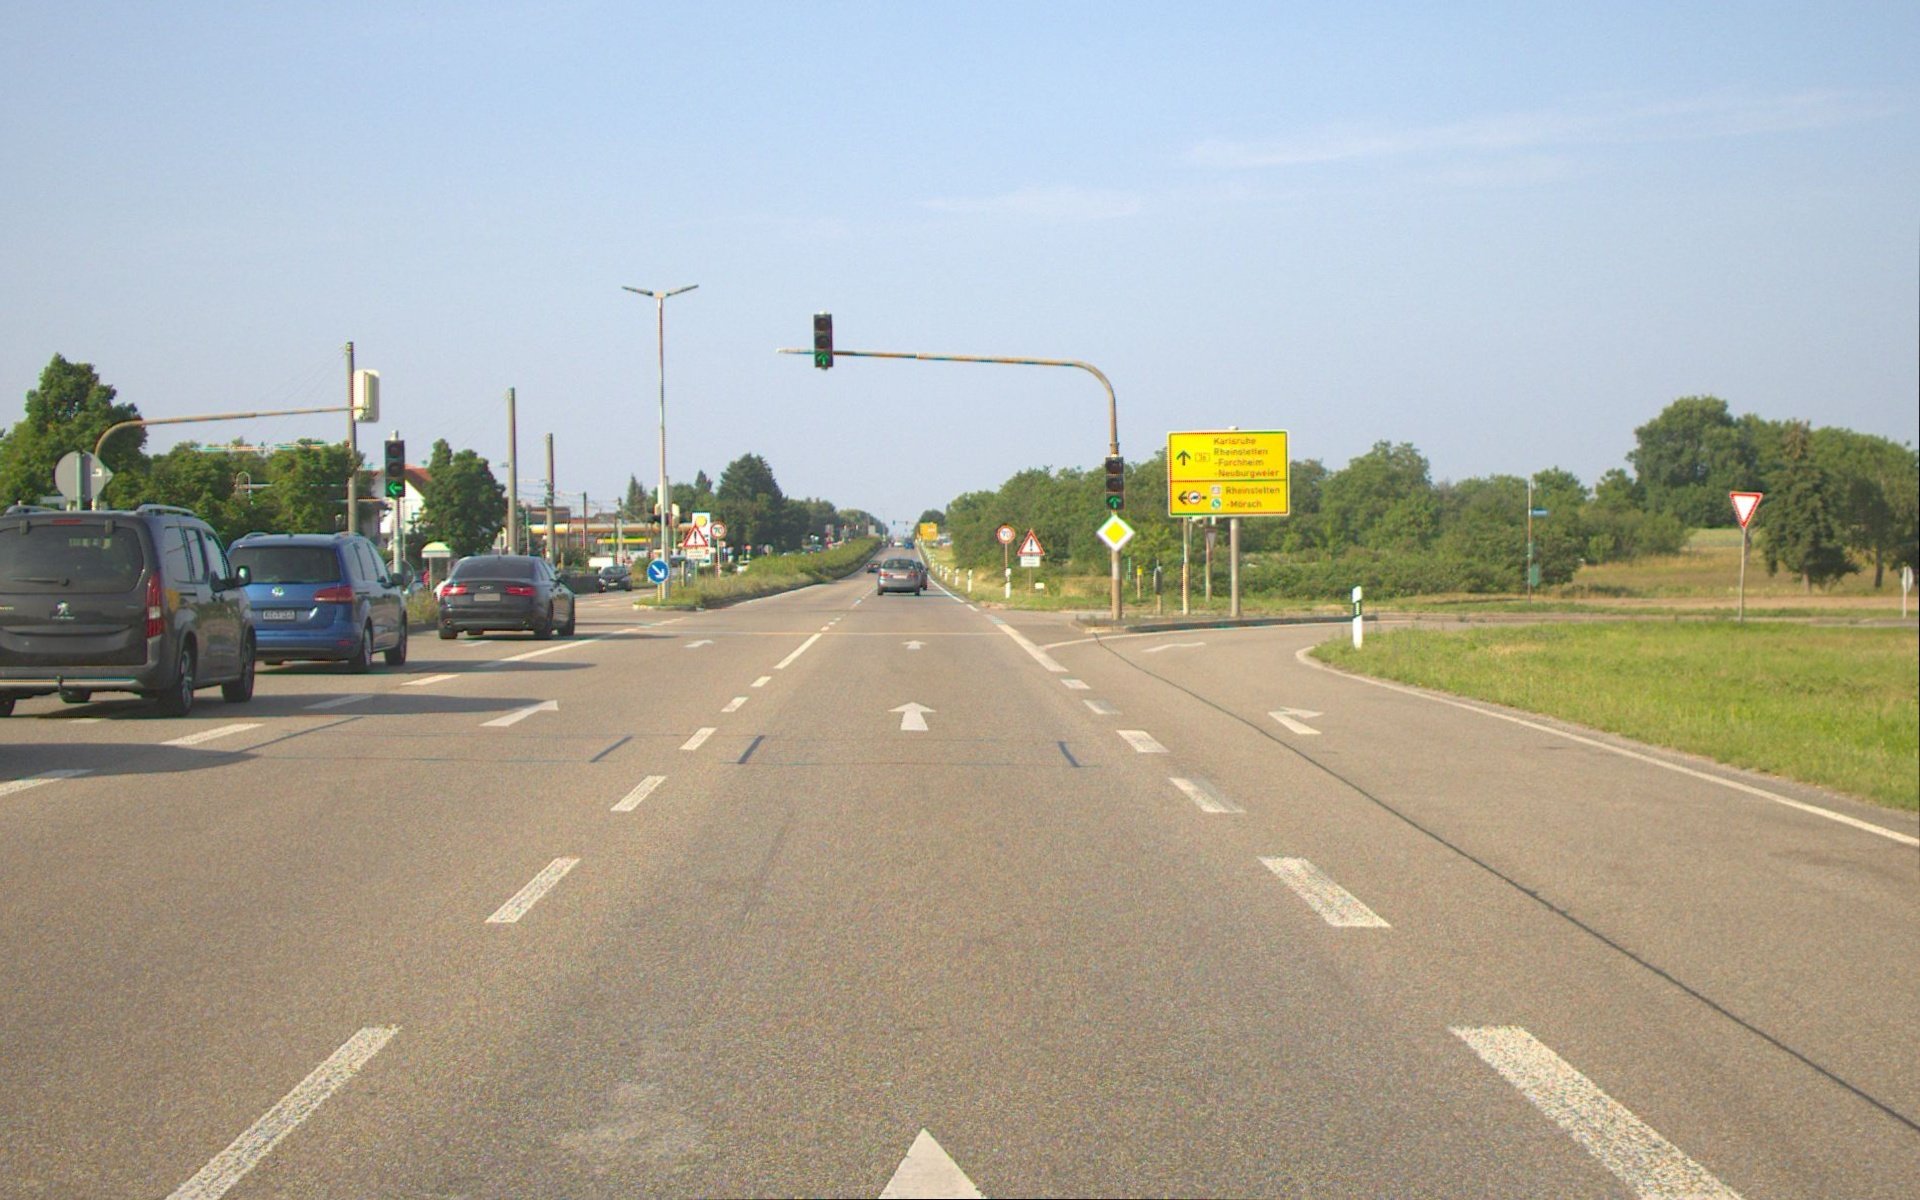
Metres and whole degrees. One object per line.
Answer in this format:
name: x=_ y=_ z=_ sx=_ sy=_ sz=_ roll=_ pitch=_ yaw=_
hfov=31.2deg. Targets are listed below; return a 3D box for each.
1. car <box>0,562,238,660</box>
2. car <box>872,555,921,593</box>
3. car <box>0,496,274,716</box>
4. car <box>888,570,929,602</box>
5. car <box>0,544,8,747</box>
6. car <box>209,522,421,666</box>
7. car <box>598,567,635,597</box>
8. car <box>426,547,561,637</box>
car: x=-17.722 y=0.241 z=72.261 sx=4.819 sy=2.007 sz=2.000 roll=0 pitch=-1 yaw=-7
car: x=-2.618 y=-1.089 z=143.032 sx=1.993 sy=1.546 sz=4.000 roll=0 pitch=1 yaw=0
car: x=-7.547 y=0.013 z=31.222 sx=1.732 sy=1.849 sz=4.520 roll=0 pitch=1 yaw=0
car: x=-2.597 y=-0.729 z=174.456 sx=1.993 sy=1.546 sz=4.000 roll=0 pitch=1 yaw=0
car: x=-7.730 y=0.363 z=22.539 sx=1.732 sy=1.451 sz=4.520 roll=0 pitch=1 yaw=0
car: x=-7.878 y=-0.111 z=42.353 sx=1.770 sy=1.673 sz=4.520 roll=0 pitch=1 yaw=0
car: x=-19.428 y=-1.012 z=194.547 sx=1.688 sy=1.656 sz=3.758 roll=0 pitch=1 yaw=0
car: x=-7.911 y=-0.156 z=58.601 sx=1.770 sy=1.466 sz=4.015 roll=0 pitch=1 yaw=0
